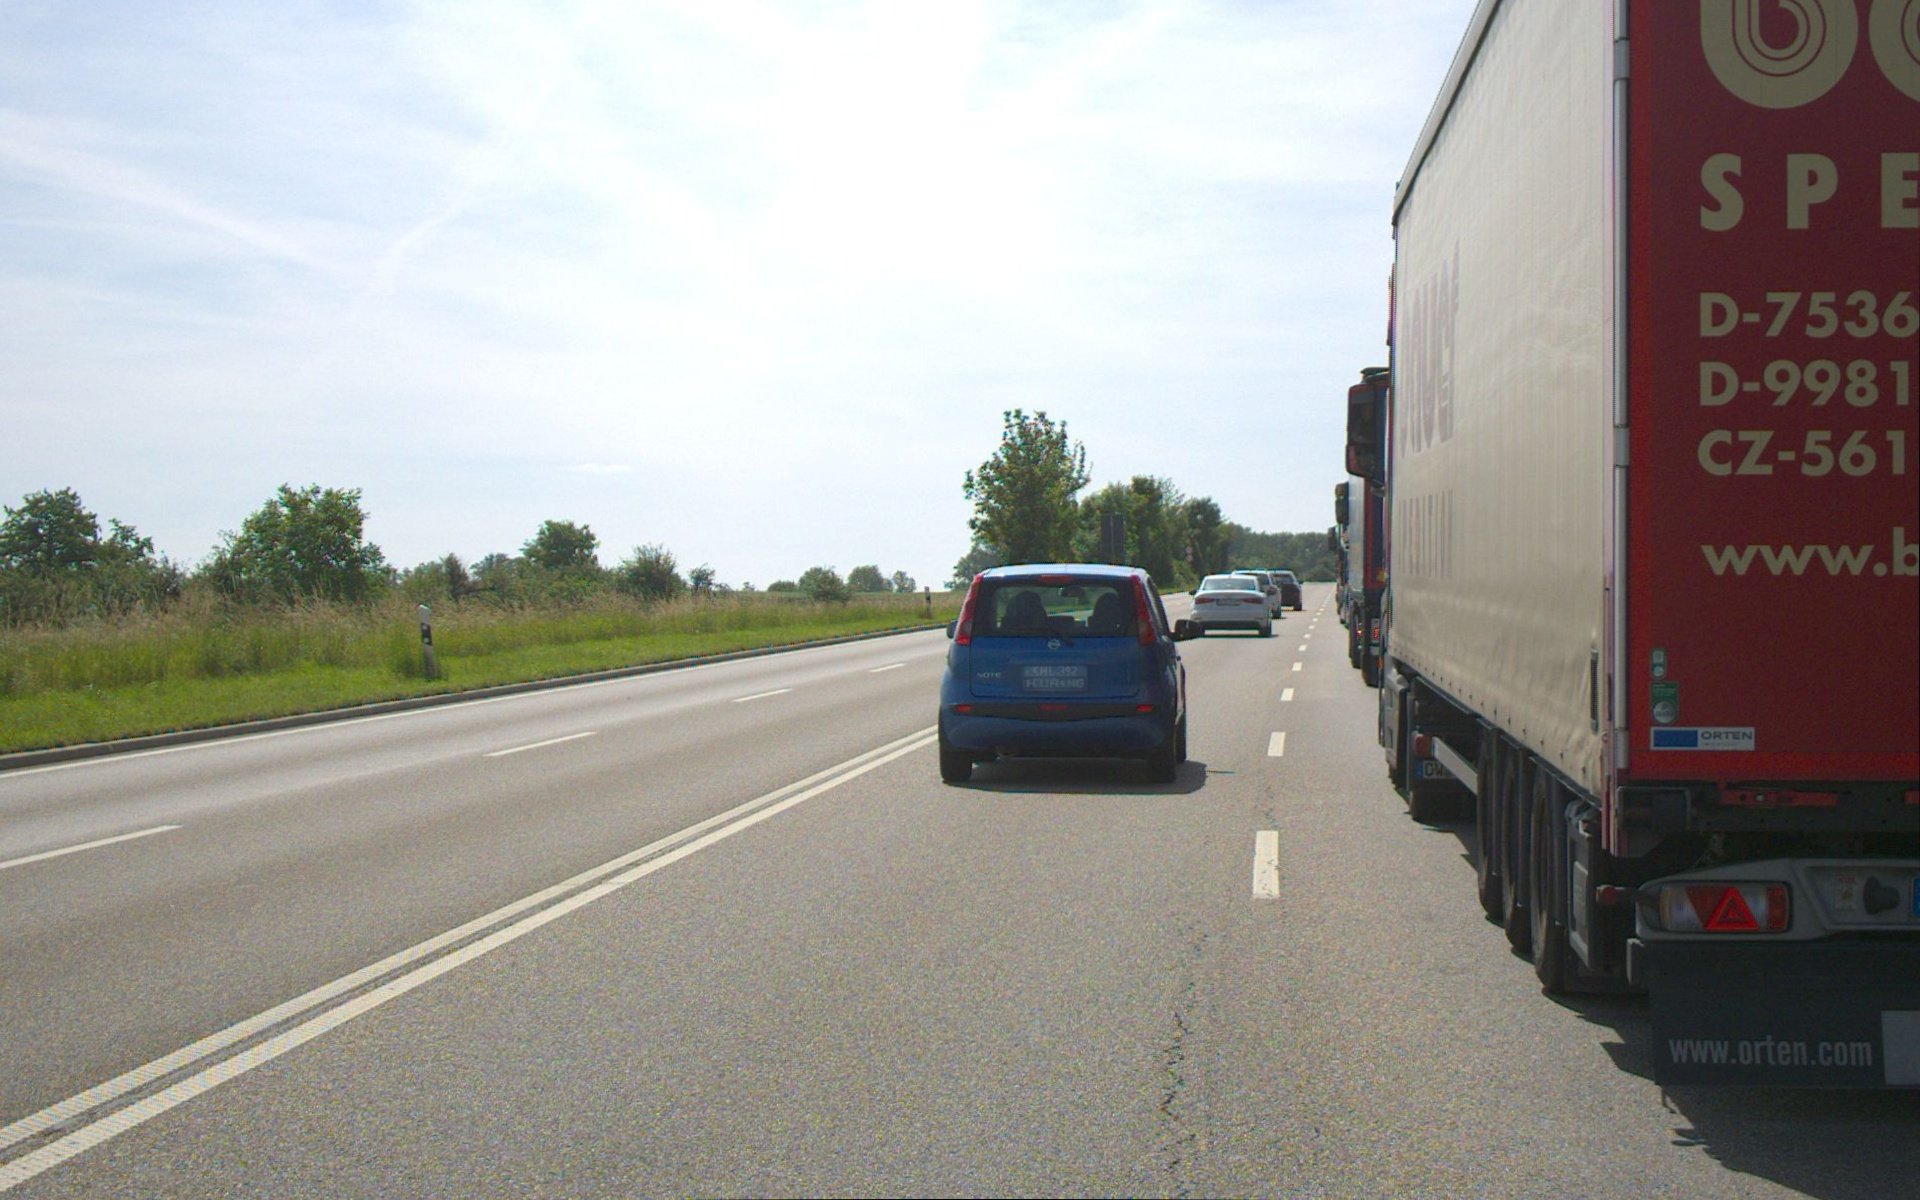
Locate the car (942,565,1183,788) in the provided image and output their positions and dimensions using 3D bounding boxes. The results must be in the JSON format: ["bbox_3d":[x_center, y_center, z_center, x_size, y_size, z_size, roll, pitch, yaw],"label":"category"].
[{"bbox_3d":[0.827,0.510,25.584,1.632,1.526,3.914,0,0,4],"label":"car"}]

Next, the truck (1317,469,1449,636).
[{"bbox_3d":[10.933,-1.202,89.941,3.047,3.897,18.393,1,1,6],"label":"truck"}]

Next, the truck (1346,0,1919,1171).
[{"bbox_3d":[3.755,-0.690,17.125,3.007,4.166,16.712,1,1,4],"label":"truck"}]

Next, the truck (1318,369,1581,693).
[{"bbox_3d":[6.704,-0.911,49.255,3.047,3.897,15.612,1,1,6],"label":"truck"}]

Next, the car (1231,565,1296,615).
[{"bbox_3d":[9.344,-0.317,105.677,1.821,1.467,4.787,2,1,6],"label":"car"}]

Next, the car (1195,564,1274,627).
[{"bbox_3d":[6.243,-0.122,78.221,1.703,1.371,4.602,1,1,5],"label":"car"}]

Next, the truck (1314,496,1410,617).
[{"bbox_3d":[14.009,-1.504,120.522,3.047,3.897,18.393,1,1,6],"label":"truck"}]
